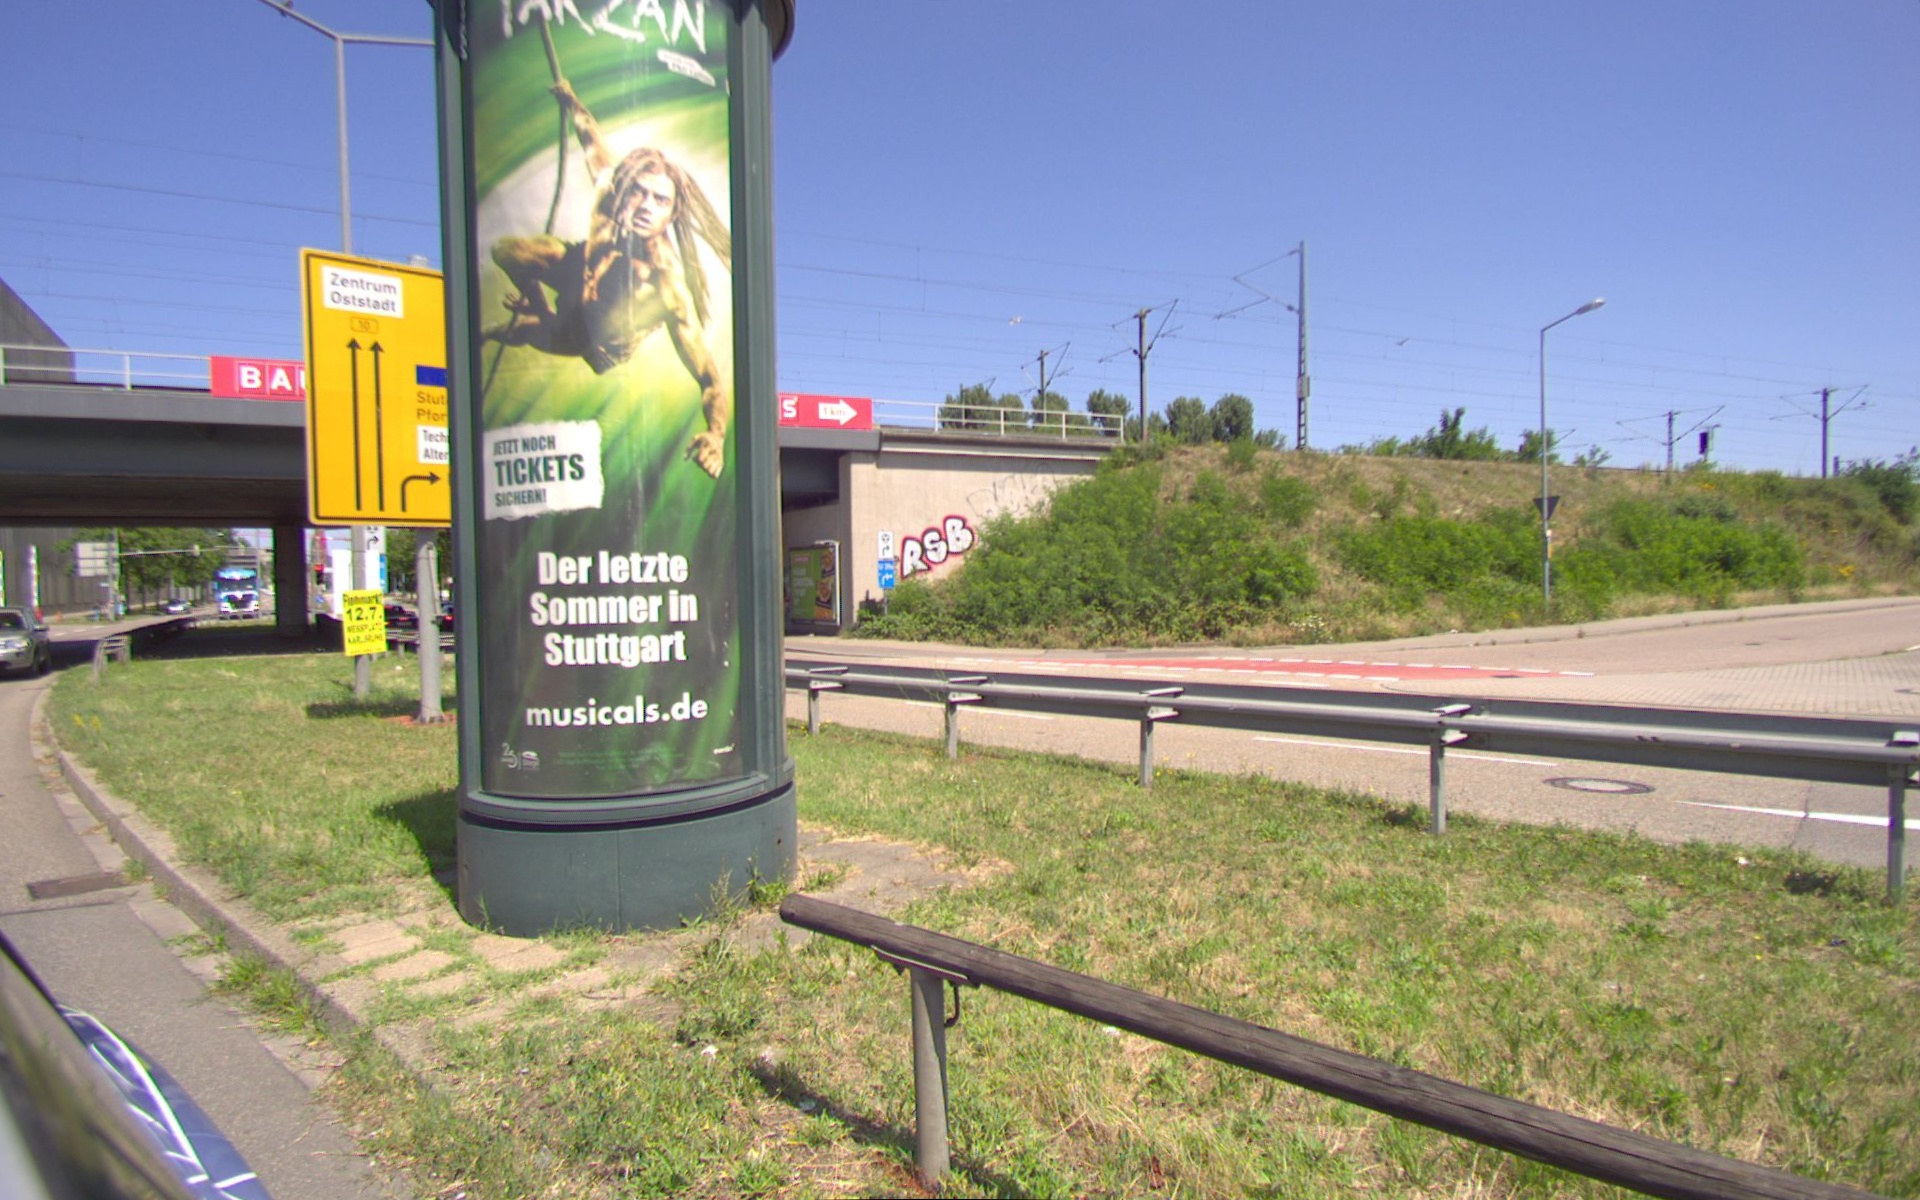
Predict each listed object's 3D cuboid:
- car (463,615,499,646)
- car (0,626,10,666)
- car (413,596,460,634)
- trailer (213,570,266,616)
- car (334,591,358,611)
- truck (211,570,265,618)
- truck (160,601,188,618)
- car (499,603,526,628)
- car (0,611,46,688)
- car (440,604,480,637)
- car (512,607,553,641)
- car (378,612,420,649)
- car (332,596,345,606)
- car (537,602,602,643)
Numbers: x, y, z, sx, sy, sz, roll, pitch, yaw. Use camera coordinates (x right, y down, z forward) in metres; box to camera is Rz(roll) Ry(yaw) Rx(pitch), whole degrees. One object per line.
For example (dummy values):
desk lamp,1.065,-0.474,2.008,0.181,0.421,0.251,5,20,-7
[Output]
car,-19.980,1.238,42.162,1.250,1.194,2.787,-1,0,-27
car,-36.107,1.710,36.936,1.690,1.453,4.008,-1,0,-38
car,-27.339,0.750,52.799,1.876,1.874,4.012,-1,0,-31
trailer,-58.410,-0.491,82.322,2.915,3.398,13.932,-1,0,-33
car,-62.328,0.106,102.763,1.966,2.029,4.012,-1,0,-30
truck,-54.854,-0.426,77.029,2.972,3.443,6.584,-1,0,-33
truck,-74.711,0.920,96.248,1.703,1.513,4.011,-1,0,-33
car,-23.953,0.822,54.134,1.166,1.257,2.701,-1,0,-27
car,-22.729,1.120,23.708,1.818,1.708,3.705,-1,0,-41
car,-23.355,0.927,47.188,1.593,1.487,3.444,-1,0,-27
car,-20.438,1.102,48.324,1.548,1.514,3.418,-1,0,-27
car,-22.045,1.172,39.844,1.389,1.329,3.271,-1,0,-28
car,-123.854,0.179,201.659,1.966,2.029,4.011,-1,0,-33
car,-16.882,0.939,43.653,1.748,1.680,4.026,-1,0,-34
